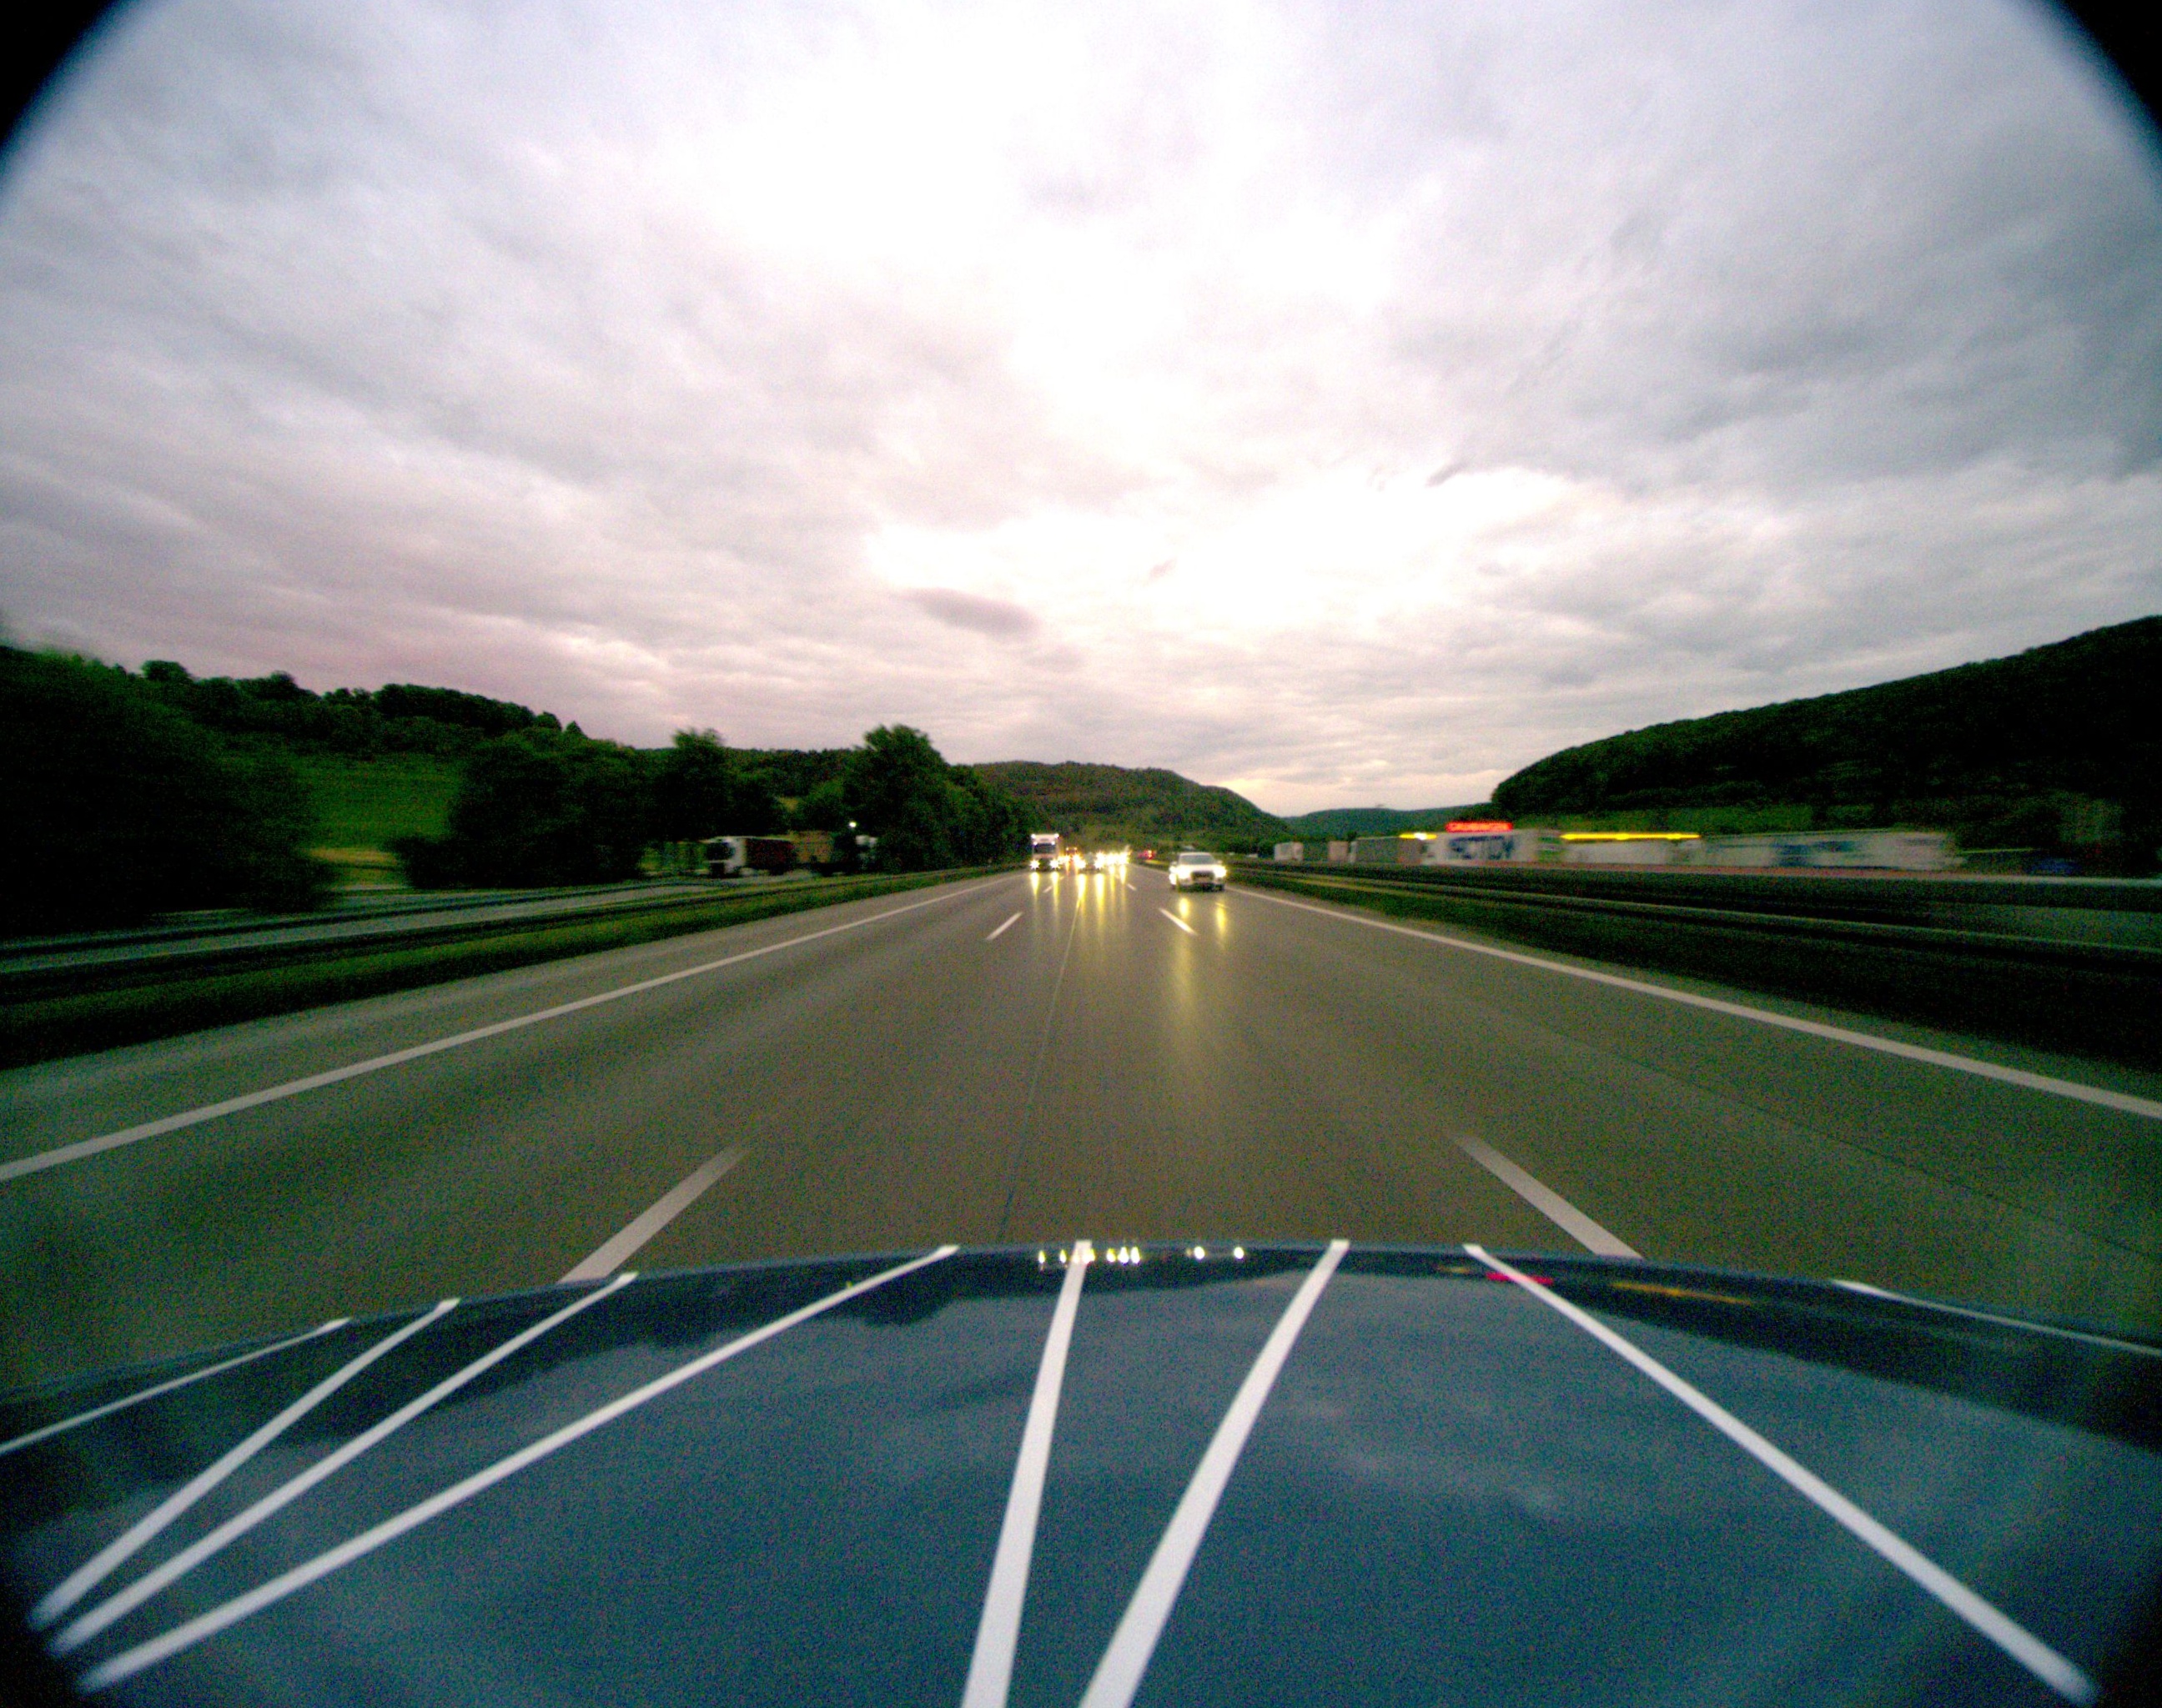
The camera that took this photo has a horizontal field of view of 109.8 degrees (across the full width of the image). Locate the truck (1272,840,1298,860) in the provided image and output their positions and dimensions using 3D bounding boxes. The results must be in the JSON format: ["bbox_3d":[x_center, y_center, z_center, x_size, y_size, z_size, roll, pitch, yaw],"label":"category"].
[{"bbox_3d":[36.844,-0.738,137.485,2.880,3.356,7.175,-1,0,2],"label":"truck"}]

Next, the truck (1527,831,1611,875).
[{"bbox_3d":[49.629,-0.097,77.592,3.025,4.235,8.865,-1,0,2],"label":"truck"}]

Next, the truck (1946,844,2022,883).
[{"bbox_3d":[84.383,0.839,71.146,2.932,3.499,6.726,0,1,35],"label":"truck"}]

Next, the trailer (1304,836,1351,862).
[{"bbox_3d":[35.862,-0.701,111.105,2.880,3.405,13.571,-1,0,2],"label":"trailer"}]

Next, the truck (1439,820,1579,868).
[{"bbox_3d":[34.128,-0.683,61.752,2.881,3.405,13.785,-1,0,-3],"label":"truck"}]

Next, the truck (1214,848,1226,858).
[{"bbox_3d":[44.586,-0.360,244.201,2.874,3.070,5.304,0,0,2],"label":"truck"}]

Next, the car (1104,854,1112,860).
[{"bbox_3d":[6.447,0.701,183.961,1.898,1.503,4.000,-1,0,1],"label":"car"}]

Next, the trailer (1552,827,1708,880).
[{"bbox_3d":[49.418,-0.048,69.521,3.025,4.235,15.947,-1,0,2],"label":"trailer"}]

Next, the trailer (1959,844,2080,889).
[{"bbox_3d":[80.519,0.919,65.595,2.932,3.499,13.446,0,1,35],"label":"trailer"}]

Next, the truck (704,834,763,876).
[{"bbox_3d":[-33.491,0.044,73.573,2.846,3.893,6.383,0,1,-1],"label":"truck"}]

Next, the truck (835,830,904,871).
[{"bbox_3d":[-24.019,-0.422,87.875,3.785,4.204,19.518,0,0,-4],"label":"truck"}]

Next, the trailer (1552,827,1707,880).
[{"bbox_3d":[49.397,-0.048,69.522,3.025,4.235,15.947,-1,0,2],"label":"trailer"}]

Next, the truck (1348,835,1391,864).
[{"bbox_3d":[35.265,-0.544,93.101,2.880,3.405,6.727,-1,0,2],"label":"truck"}]

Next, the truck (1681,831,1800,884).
[{"bbox_3d":[48.979,0.240,56.749,2.880,3.618,7.029,-1,0,2],"label":"truck"}]

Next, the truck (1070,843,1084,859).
[{"bbox_3d":[-0.807,-0.734,183.780,3.120,3.850,14.162,2,0,0],"label":"truck"}]

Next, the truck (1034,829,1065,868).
[{"bbox_3d":[-3.232,-0.628,80.318,2.623,3.805,10.385,-1,1,1],"label":"truck"}]

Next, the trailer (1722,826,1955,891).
[{"bbox_3d":[48.751,0.241,49.883,2.880,3.657,12.717,-1,0,2],"label":"trailer"}]

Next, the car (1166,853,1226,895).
[{"bbox_3d":[4.624,0.748,31.179,1.794,1.492,5.038,-2,0,1],"label":"car"}]

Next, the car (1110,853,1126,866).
[{"bbox_3d":[5.264,0.797,107.617,1.894,1.650,5.638,-2,1,-1],"label":"car"}]

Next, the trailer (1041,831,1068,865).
[{"bbox_3d":[-3.033,-0.687,89.977,2.623,3.805,8.877,-1,1,1],"label":"trailer"}]

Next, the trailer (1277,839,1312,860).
[{"bbox_3d":[36.552,-0.761,130.649,2.880,3.405,13.226,-1,0,2],"label":"trailer"}]

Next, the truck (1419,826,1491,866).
[{"bbox_3d":[33.759,-0.681,68.864,2.881,3.405,6.724,-1,0,-3],"label":"truck"}]

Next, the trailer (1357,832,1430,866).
[{"bbox_3d":[35.025,-0.535,86.045,2.880,3.405,13.851,-1,0,2],"label":"trailer"}]

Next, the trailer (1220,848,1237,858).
[{"bbox_3d":[44.471,-0.272,229.616,2.874,3.070,11.158,0,0,0],"label":"trailer"}]

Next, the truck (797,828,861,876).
[{"bbox_3d":[-22.309,-0.162,68.066,2.847,3.893,11.982,0,0,-6],"label":"truck"}]

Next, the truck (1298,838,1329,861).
[{"bbox_3d":[36.103,-0.697,118.051,2.880,3.405,6.727,-1,0,2],"label":"truck"}]

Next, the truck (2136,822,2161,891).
[{"bbox_3d":[64.948,0.165,43.247,3.280,4.082,8.233,0,1,36],"label":"truck"}]

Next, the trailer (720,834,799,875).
[{"bbox_3d":[-33.644,0.001,80.382,2.846,3.893,13.573,0,0,-1],"label":"trailer"}]

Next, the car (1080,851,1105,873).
[{"bbox_3d":[0.899,0.618,61.746,1.927,1.674,4.806,0,1,1],"label":"car"}]
